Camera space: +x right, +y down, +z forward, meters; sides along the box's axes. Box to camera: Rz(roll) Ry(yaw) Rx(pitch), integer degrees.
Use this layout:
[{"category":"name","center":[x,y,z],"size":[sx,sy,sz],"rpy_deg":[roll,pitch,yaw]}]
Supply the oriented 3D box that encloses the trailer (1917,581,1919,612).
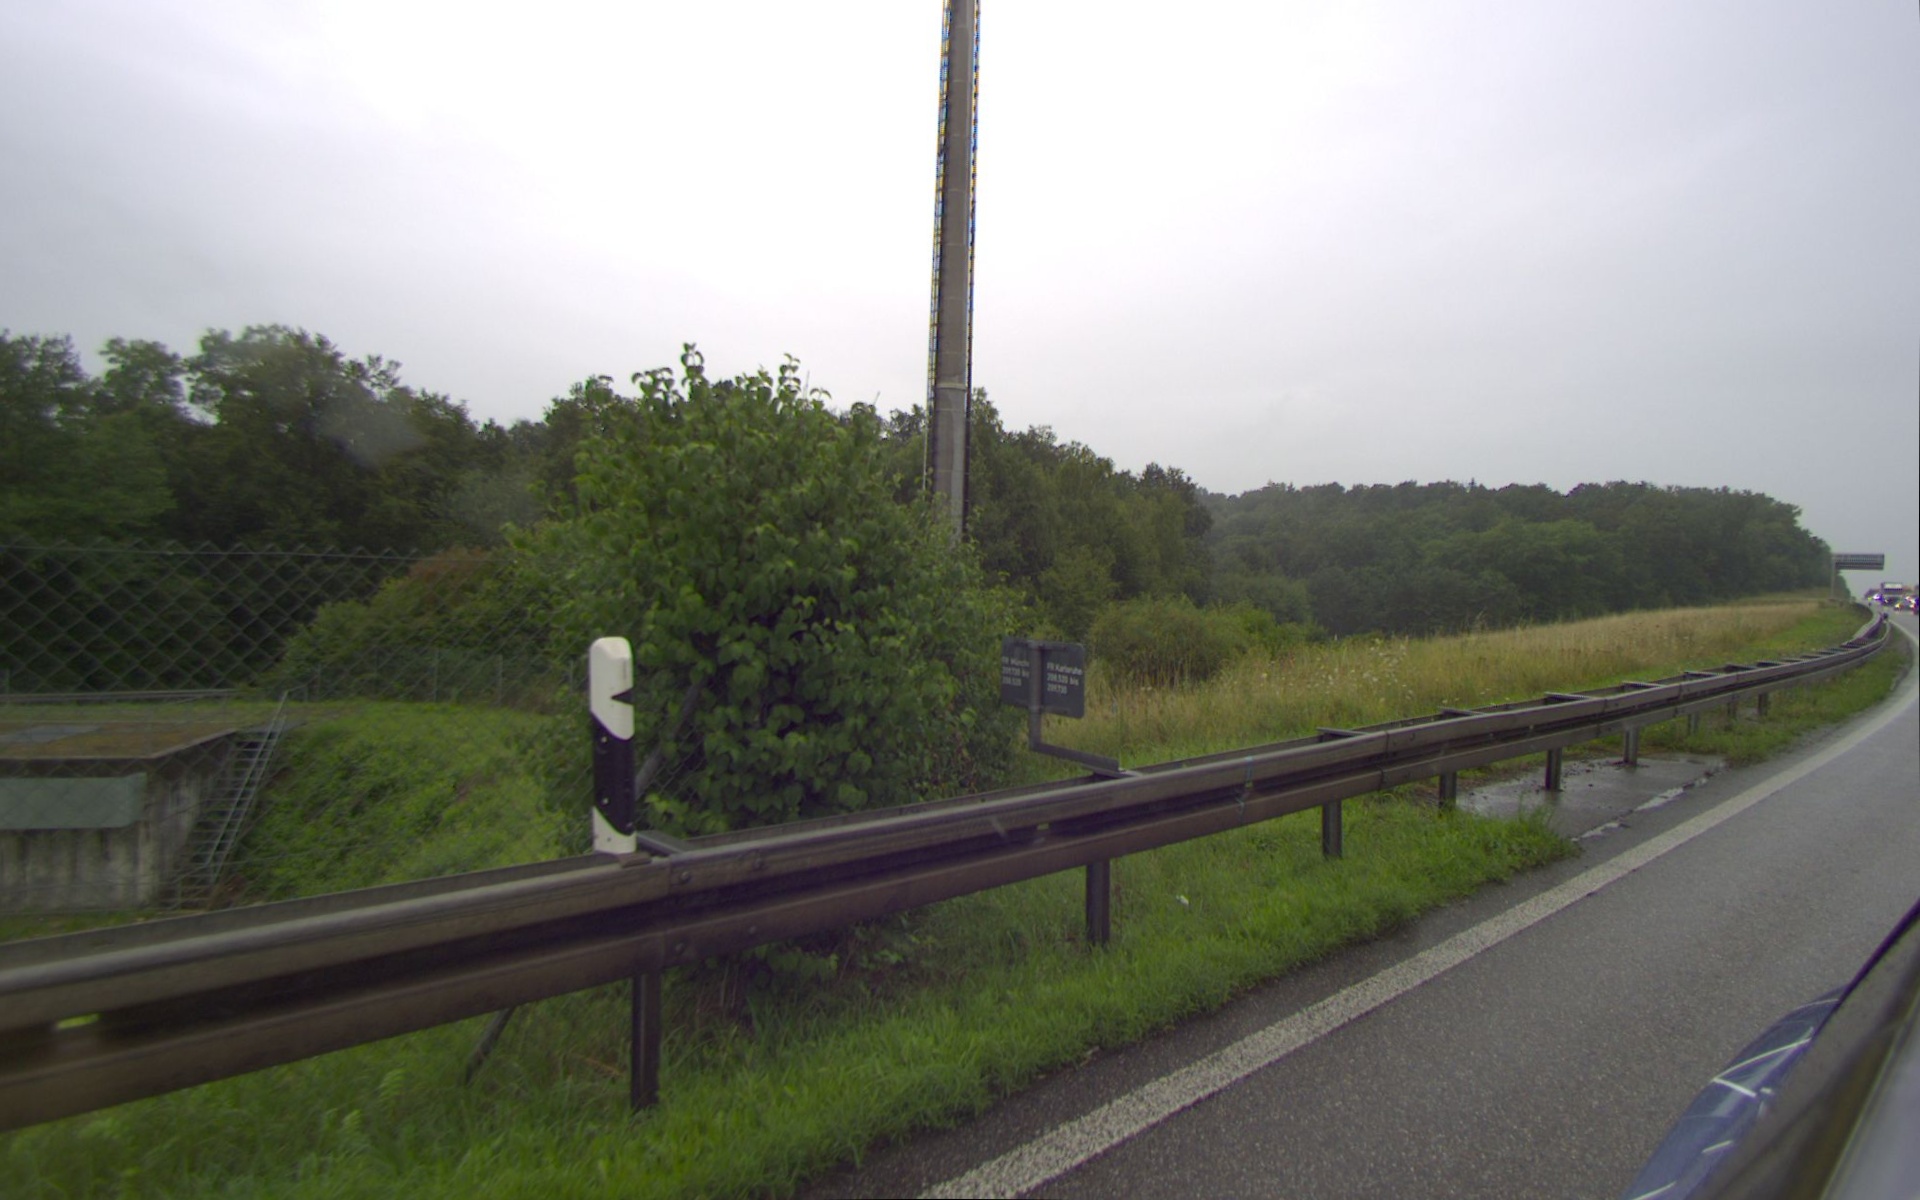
[{"category":"trailer","center":[90.398,-0.778,92.697],"size":[2.759,4.074,10.887],"rpy_deg":[5,3,38]}]

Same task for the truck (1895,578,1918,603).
[{"category":"truck","center":[164.209,-1.603,175.579],"size":[5.143,4.197,2.592],"rpy_deg":[1,-1,-44]}]
